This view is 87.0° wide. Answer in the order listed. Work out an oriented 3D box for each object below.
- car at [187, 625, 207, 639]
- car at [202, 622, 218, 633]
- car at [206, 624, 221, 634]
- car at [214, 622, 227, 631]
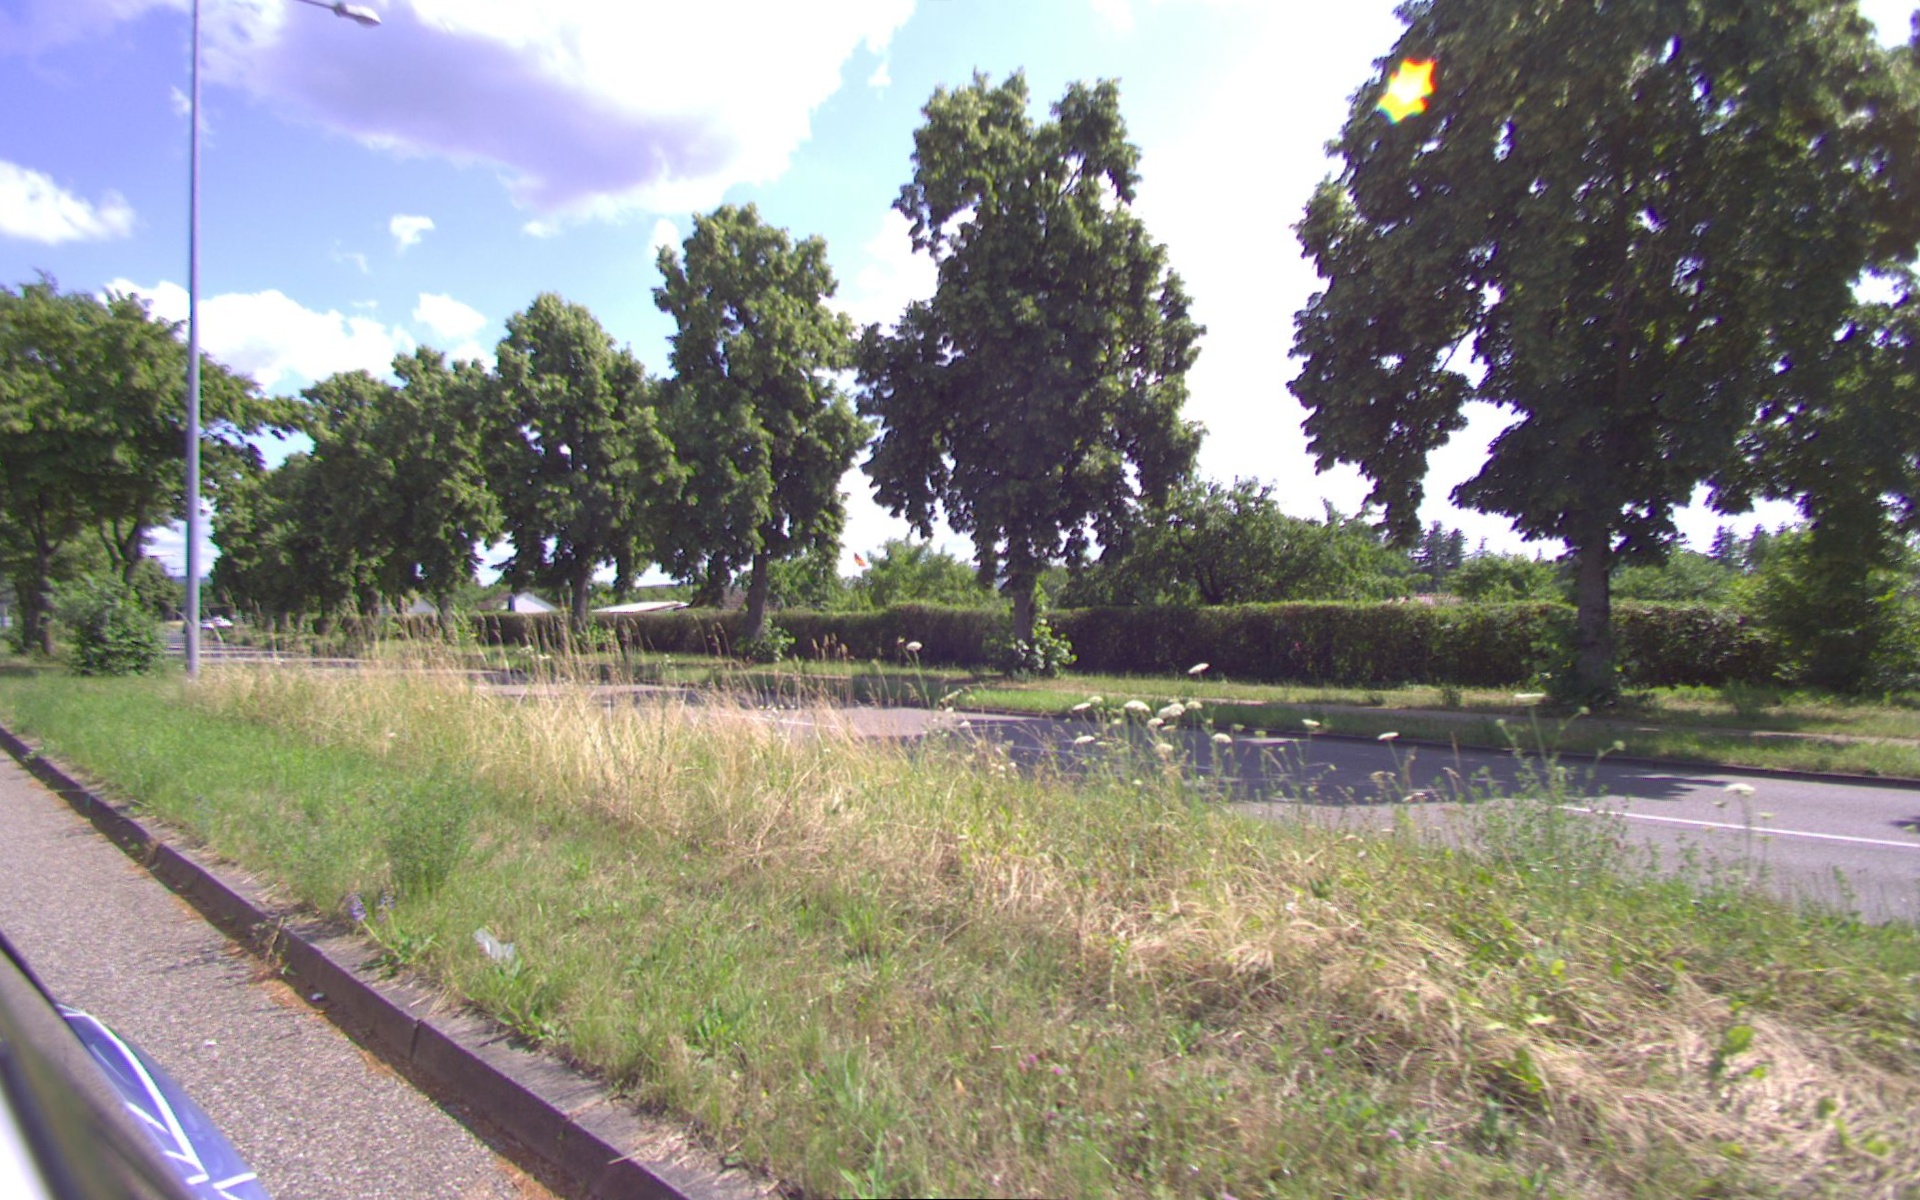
[{"bbox_3d":[-91.888,3.809,121.916,1.713,1.598,4.122,3,-3,-36],"label":"car"},{"bbox_3d":[-111.084,4.108,149.888,1.713,1.598,4.123,2,-3,-34],"label":"car"},{"bbox_3d":[-119.355,4.601,161.747,1.713,1.598,4.123,2,-3,-34],"label":"car"},{"bbox_3d":[-137.396,4.893,188.005,1.713,1.598,4.123,2,-3,-34],"label":"car"}]
